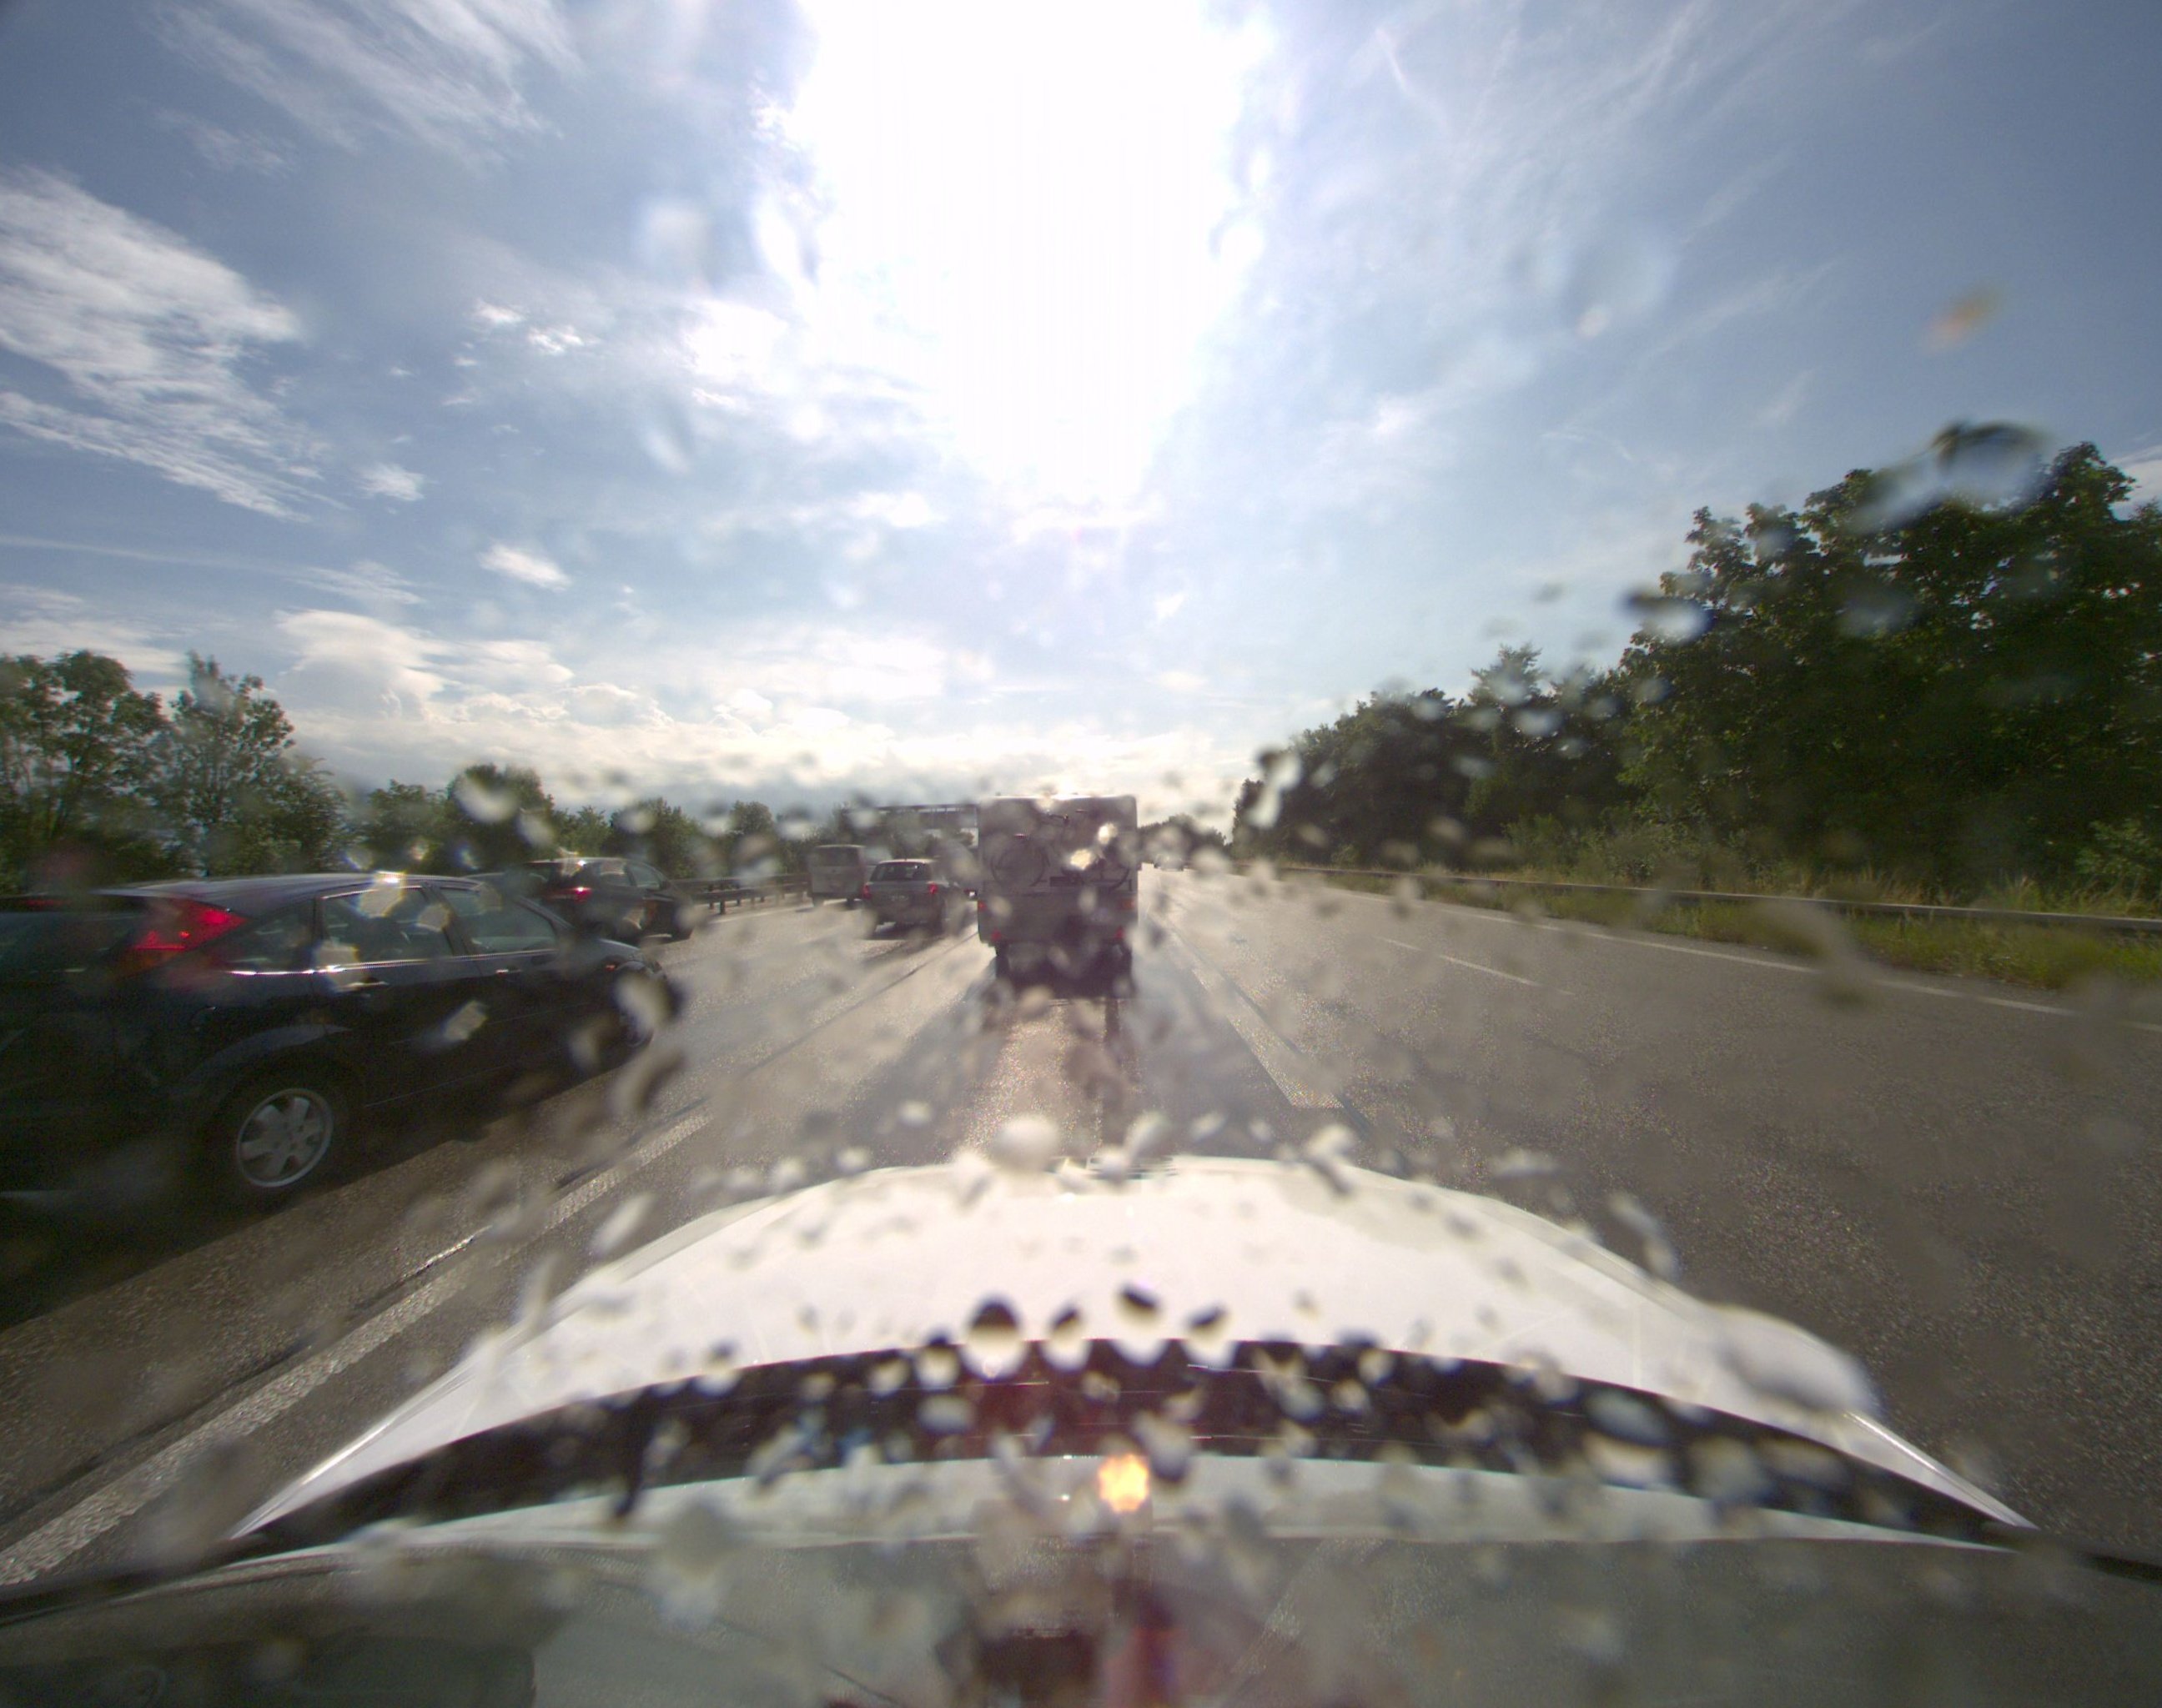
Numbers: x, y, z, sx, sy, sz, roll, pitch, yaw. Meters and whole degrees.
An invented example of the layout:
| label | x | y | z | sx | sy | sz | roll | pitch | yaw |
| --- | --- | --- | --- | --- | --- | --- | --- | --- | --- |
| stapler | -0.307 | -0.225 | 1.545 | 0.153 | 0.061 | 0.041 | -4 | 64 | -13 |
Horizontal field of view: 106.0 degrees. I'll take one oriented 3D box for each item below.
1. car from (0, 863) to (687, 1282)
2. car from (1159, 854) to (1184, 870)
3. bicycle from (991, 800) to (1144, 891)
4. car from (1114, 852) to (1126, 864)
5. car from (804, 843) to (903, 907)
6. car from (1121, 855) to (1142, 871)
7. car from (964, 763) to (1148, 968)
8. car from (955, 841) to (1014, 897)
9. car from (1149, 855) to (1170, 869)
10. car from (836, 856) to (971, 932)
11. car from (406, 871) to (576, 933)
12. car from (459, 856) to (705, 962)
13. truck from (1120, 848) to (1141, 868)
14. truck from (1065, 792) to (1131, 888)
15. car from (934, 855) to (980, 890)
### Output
| label | x | y | z | sx | sy | sz | roll | pitch | yaw |
| --- | --- | --- | --- | --- | --- | --- | --- | --- | --- |
| car | -4.297 | 0.808 | 4.910 | 1.752 | 1.443 | 4.002 | -1 | 0 | 2 |
| car | 8.750 | 0.747 | 78.826 | 1.872 | 1.494 | 3.996 | 0 | 0 | -2 |
| bicycle | -0.167 | -0.104 | 10.482 | 1.926 | 1.141 | 0.384 | -1 | -1 | 2 |
| car | 5.562 | 0.544 | 115.936 | 1.713 | 1.684 | 4.002 | -1 | 0 | 2 |
| car | -7.519 | 0.637 | 27.463 | 1.841 | 1.934 | 5.017 | -1 | 0 | 1 |
| car | 5.128 | 0.913 | 83.803 | 1.830 | 1.558 | 3.998 | 0 | 0 | -1 |
| car | -0.248 | 0.166 | 12.675 | 2.401 | 2.674 | 4.002 | -1 | -1 | 2 |
| car | -3.672 | 0.559 | 31.705 | 1.871 | 2.014 | 3.998 | 0 | 0 | -1 |
| car | 9.296 | 0.905 | 96.624 | 1.872 | 1.629 | 3.996 | 0 | 0 | -2 |
| car | -3.737 | 0.798 | 17.880 | 1.980 | 1.458 | 3.828 | -1 | 0 | 2 |
| car | -16.042 | 1.244 | 22.433 | 1.672 | 1.464 | 4.002 | -1 | 0 | 2 |
| car | -8.518 | 0.840 | 14.366 | 1.776 | 1.578 | 3.918 | -1 | 0 | 2 |
| truck | 6.056 | 0.481 | 100.573 | 2.406 | 2.443 | 6.056 | -1 | 0 | 2 |
| truck | 0.871 | -0.658 | 44.664 | 3.135 | 4.626 | 10.736 | -1 | 0 | 1 |
| car | -6.293 | 0.907 | 41.575 | 1.766 | 1.662 | 3.998 | 0 | 0 | -1 |
